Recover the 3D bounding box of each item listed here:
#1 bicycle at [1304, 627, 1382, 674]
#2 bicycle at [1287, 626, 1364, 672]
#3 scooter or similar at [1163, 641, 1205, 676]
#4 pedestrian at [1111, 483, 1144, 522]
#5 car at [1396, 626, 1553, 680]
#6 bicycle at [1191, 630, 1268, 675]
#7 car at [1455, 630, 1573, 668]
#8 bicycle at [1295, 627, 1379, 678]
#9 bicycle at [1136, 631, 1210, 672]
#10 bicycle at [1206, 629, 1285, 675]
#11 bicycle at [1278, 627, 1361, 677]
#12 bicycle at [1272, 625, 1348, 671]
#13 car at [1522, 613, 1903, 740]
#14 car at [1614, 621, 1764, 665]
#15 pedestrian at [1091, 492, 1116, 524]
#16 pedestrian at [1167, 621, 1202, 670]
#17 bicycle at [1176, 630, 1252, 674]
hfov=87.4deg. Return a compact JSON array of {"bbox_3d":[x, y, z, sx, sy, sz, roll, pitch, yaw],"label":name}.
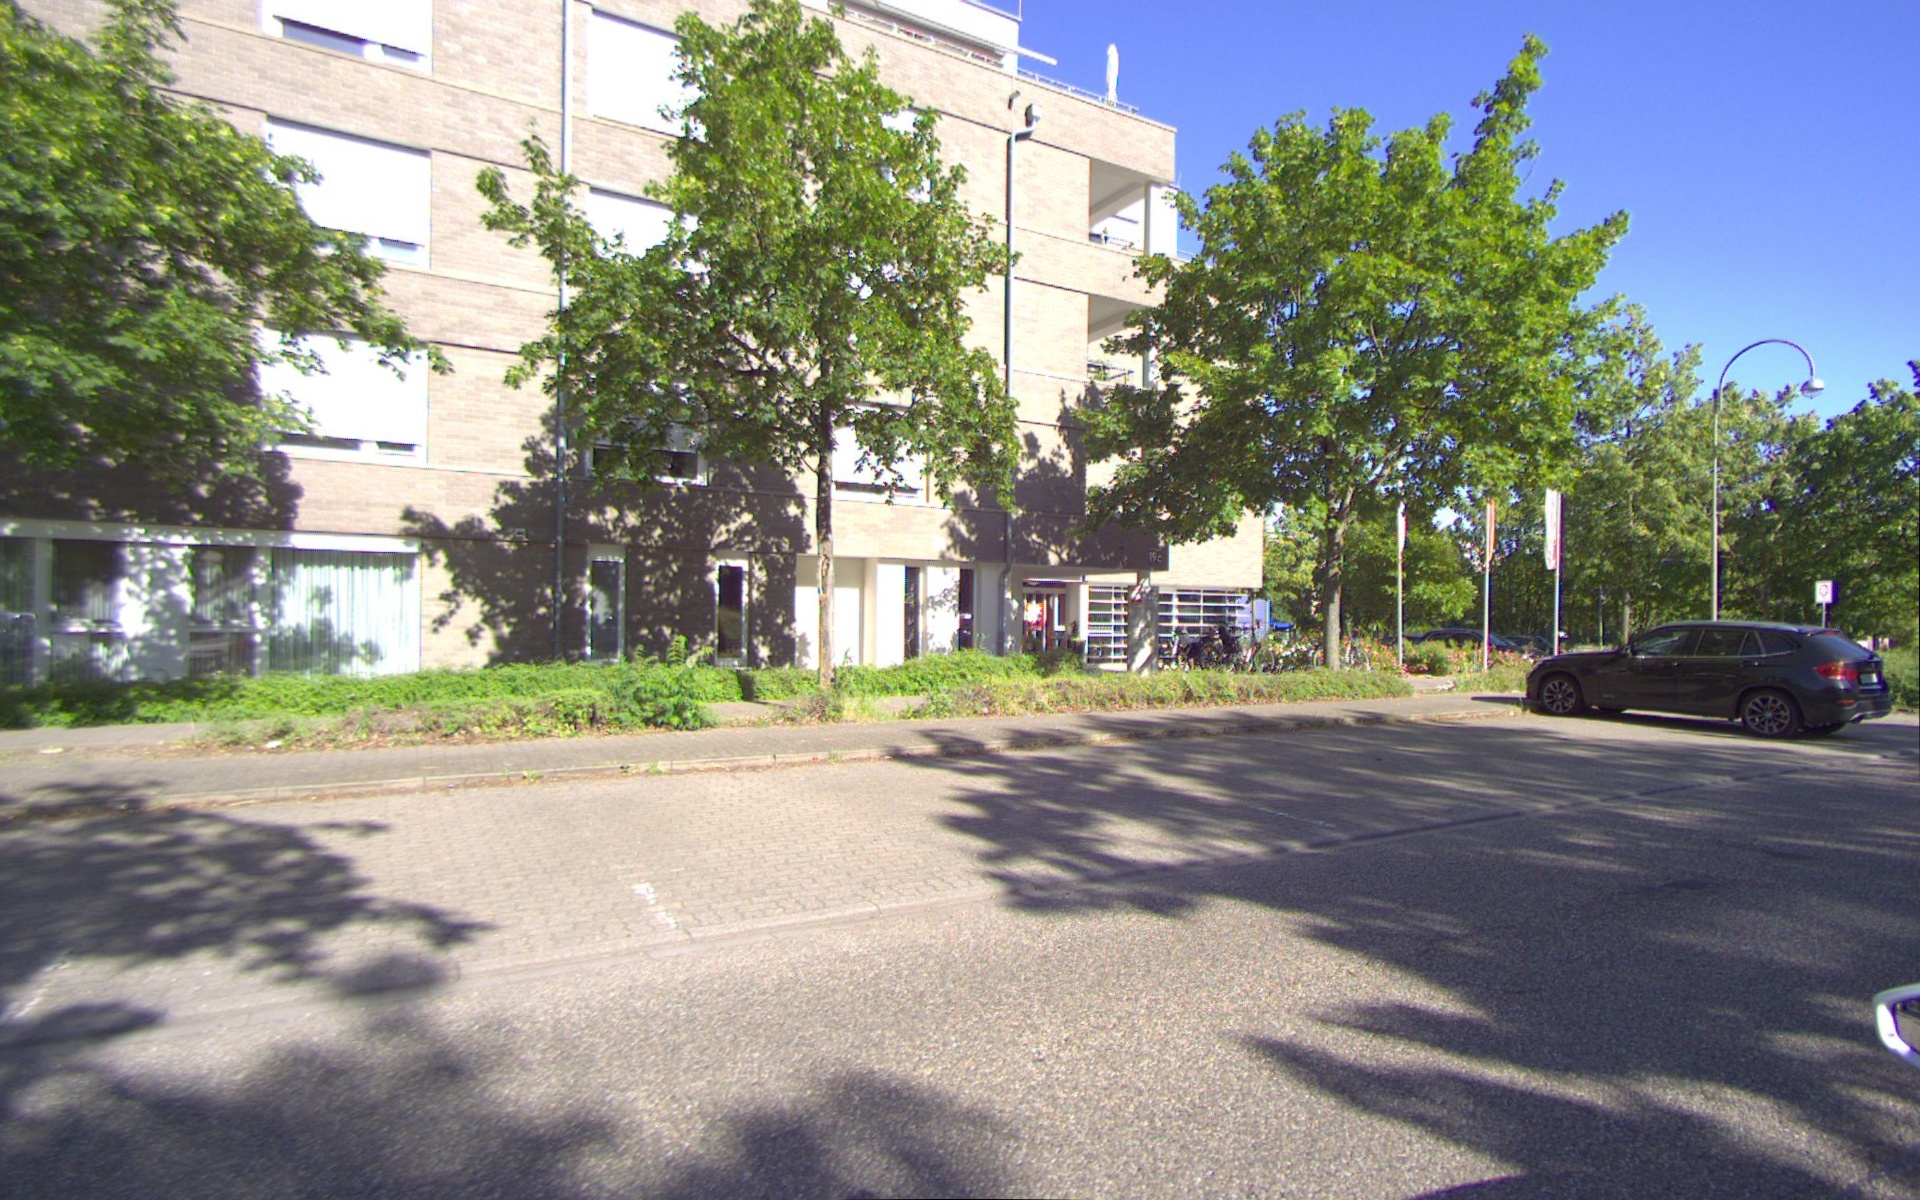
[{"bbox_3d":[8.988,1.179,23.532,2.167,1.061,0.435,1,0,-30],"label":"bicycle"},{"bbox_3d":[8.745,1.167,23.989,2.167,1.061,0.435,1,0,-30],"label":"bicycle"},{"bbox_3d":[6.432,1.671,28.862,0.857,0.967,0.800,1,-1,-27],"label":"scooter or similar"},{"bbox_3d":[3.849,-2.230,23.052,0.360,0.809,0.676,1,0,-37],"label":"pedestrian"},{"bbox_3d":[16.803,1.719,33.005,1.870,1.641,4.308,1,-3,-28],"label":"car"},{"bbox_3d":[6.712,1.300,24.980,2.167,1.061,0.435,1,0,-30],"label":"bicycle"},{"bbox_3d":[23.363,2.047,42.514,1.809,1.491,4.038,1,-2,-29],"label":"car"},{"bbox_3d":[8.218,1.139,21.849,2.167,1.061,0.435,1,0,-30],"label":"bicycle"},{"bbox_3d":[5.674,1.361,26.698,2.167,1.061,0.435,1,0,-30],"label":"bicycle"},{"bbox_3d":[6.877,1.233,24.130,2.167,1.061,0.435,1,0,-30],"label":"bicycle"},{"bbox_3d":[7.978,1.139,22.265,2.167,1.061,0.435,1,0,-30],"label":"bicycle"},{"bbox_3d":[8.521,1.158,24.427,2.167,1.061,0.435,1,0,-30],"label":"bicycle"},{"bbox_3d":[10.876,1.008,14.868,1.750,1.540,4.174,1,0,-29],"label":"car"},{"bbox_3d":[25.980,1.547,35.947,1.604,1.469,4.062,1,-3,-28],"label":"car"},{"bbox_3d":[3.387,-2.168,23.739,0.424,0.695,0.412,1,0,-39],"label":"pedestrian"},{"bbox_3d":[6.449,1.291,28.851,0.736,1.379,0.665,1,-2,-29],"label":"pedestrian"},{"bbox_3d":[6.453,1.310,25.447,2.167,1.061,0.435,1,0,-30],"label":"bicycle"}]
